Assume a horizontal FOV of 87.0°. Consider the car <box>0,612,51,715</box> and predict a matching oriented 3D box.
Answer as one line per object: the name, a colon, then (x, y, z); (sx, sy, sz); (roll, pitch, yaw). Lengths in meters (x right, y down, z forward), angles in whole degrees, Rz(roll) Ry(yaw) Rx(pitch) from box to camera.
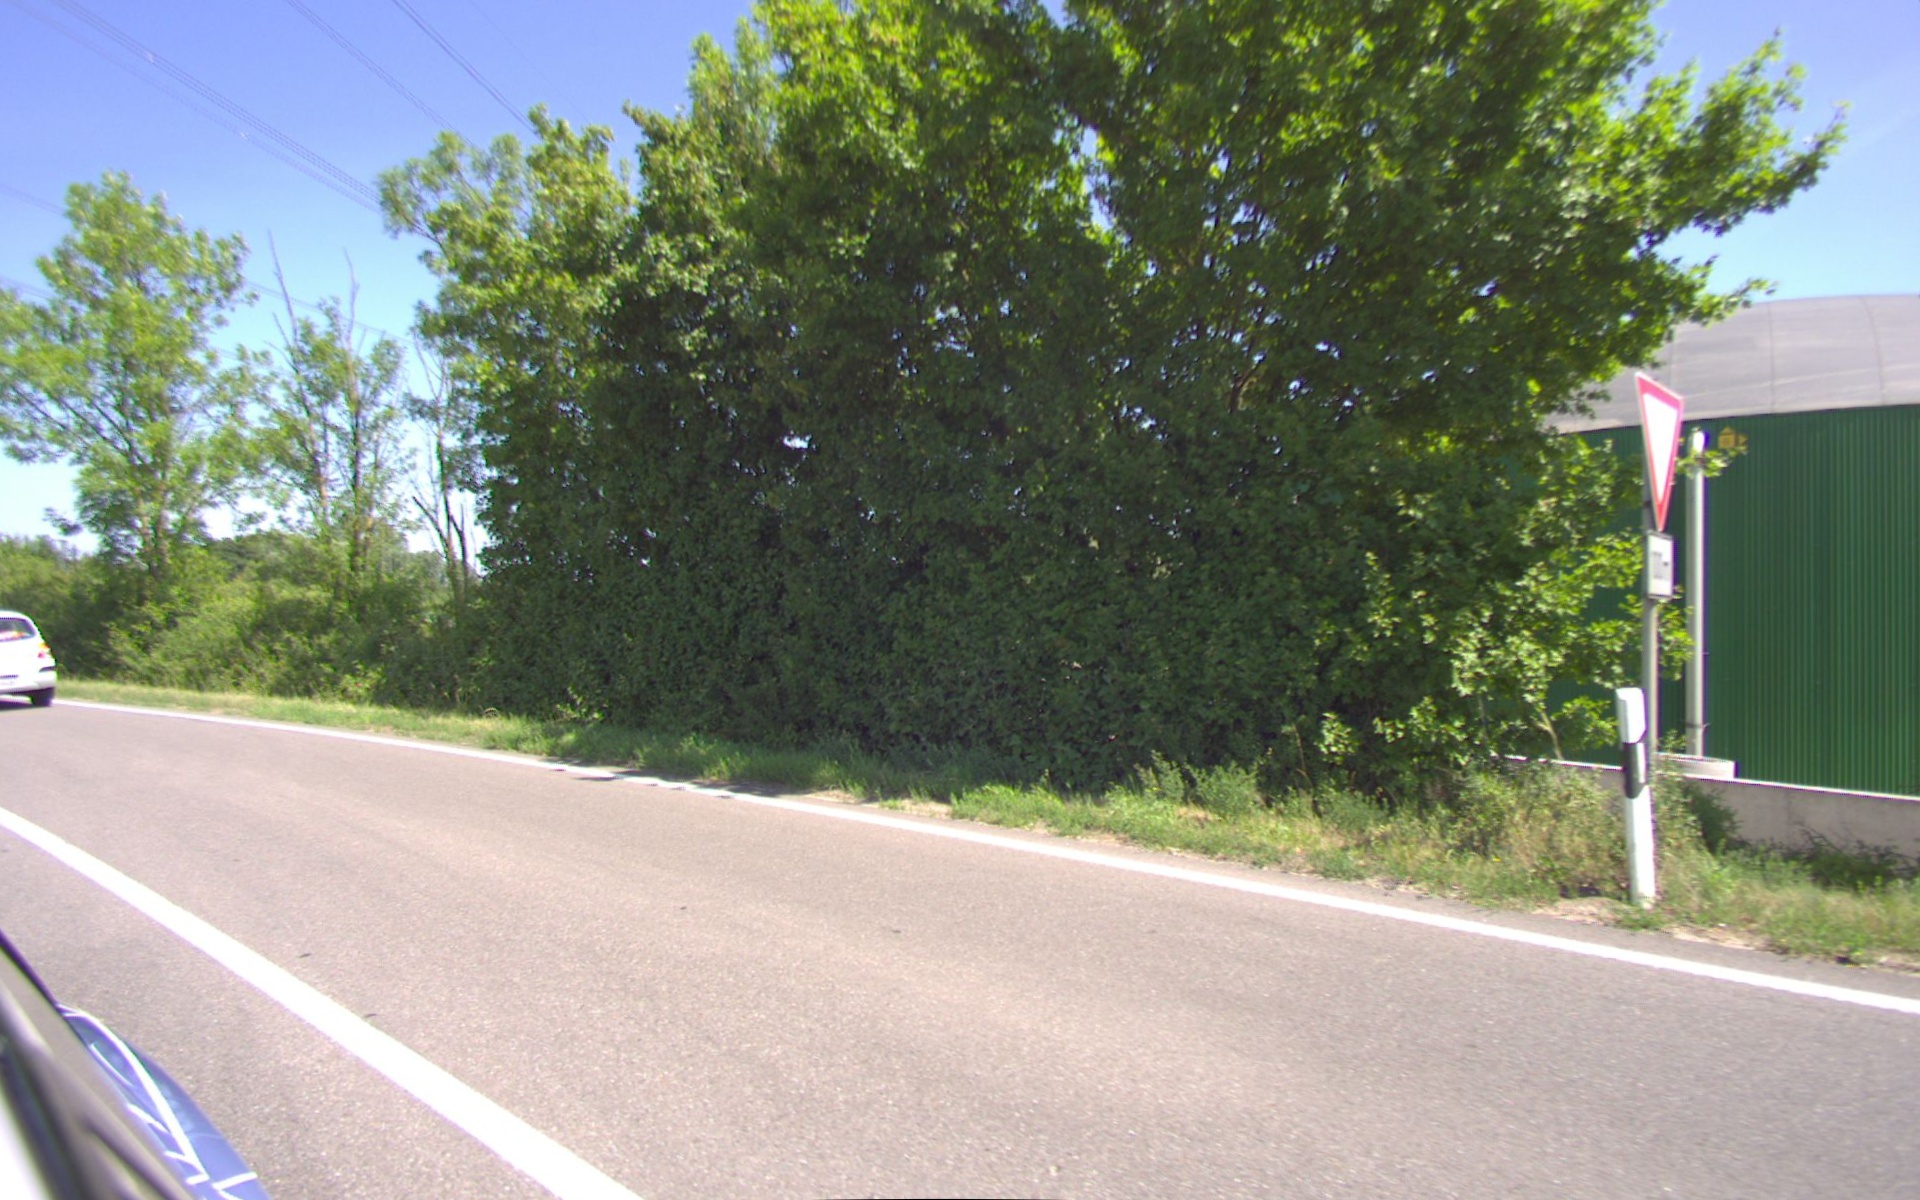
car: (-15.601, 0.941, 15.358); (3.590, 1.453, 1.527); (0, 1, 28)
